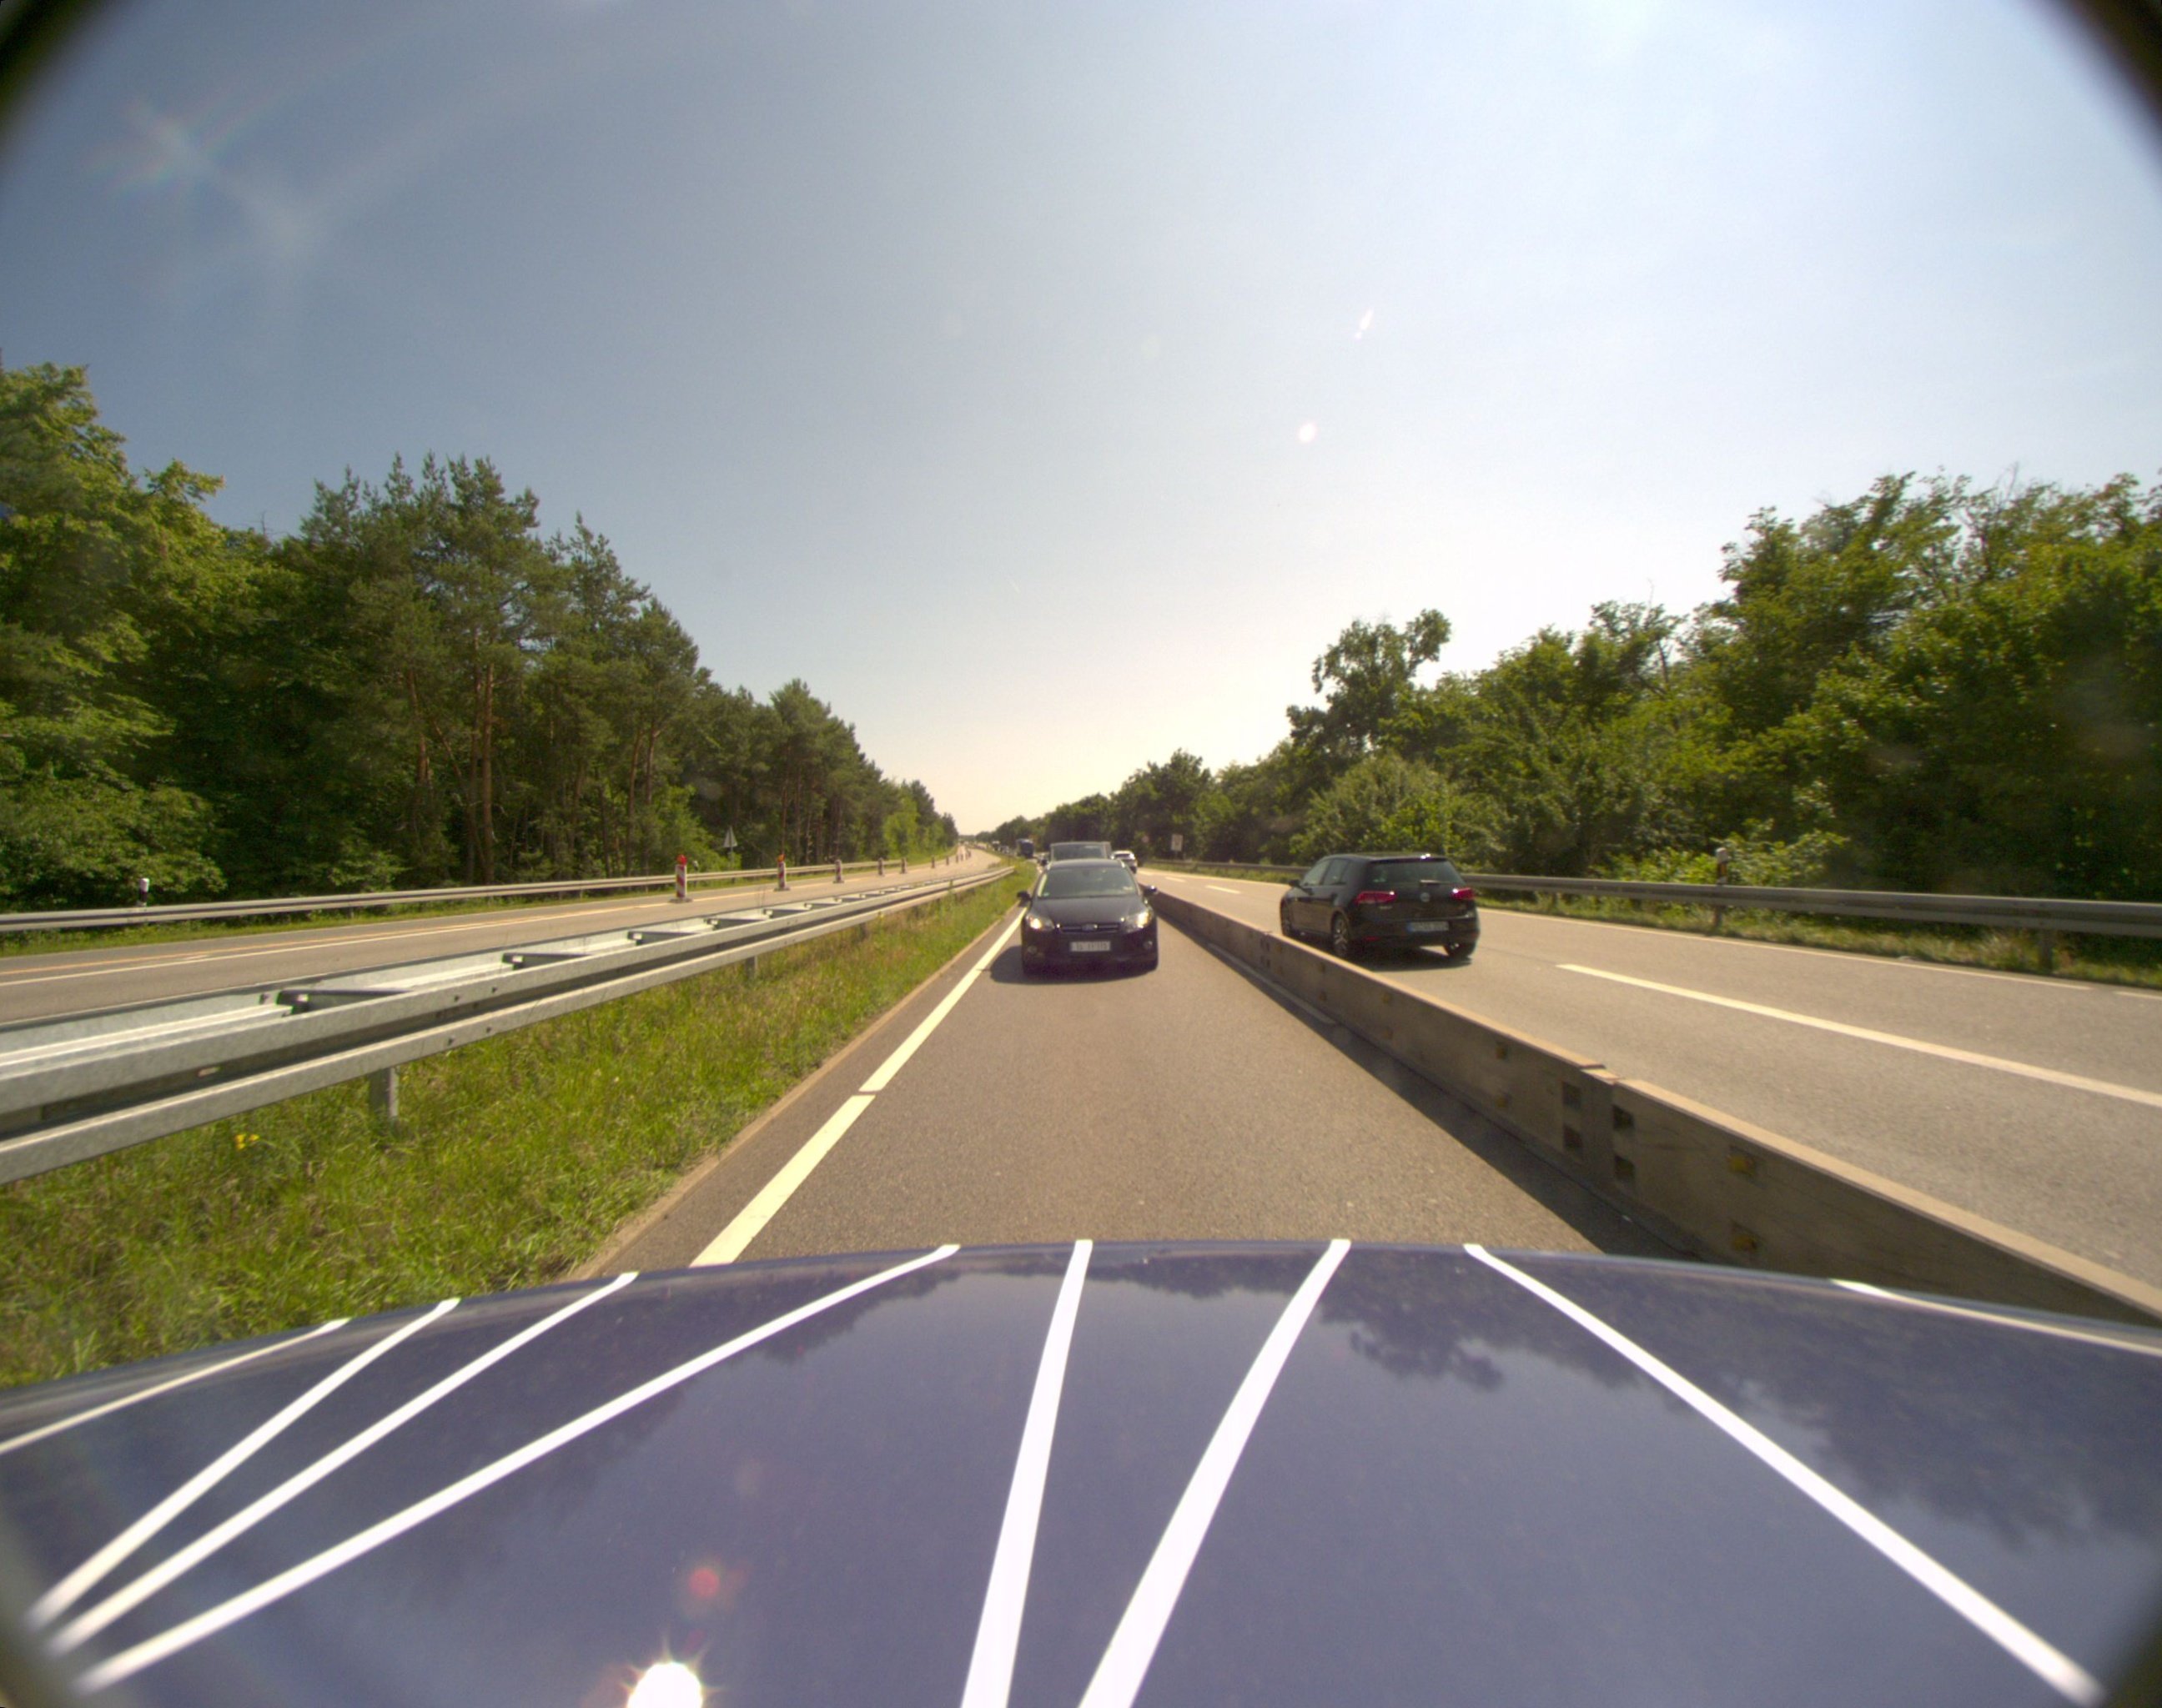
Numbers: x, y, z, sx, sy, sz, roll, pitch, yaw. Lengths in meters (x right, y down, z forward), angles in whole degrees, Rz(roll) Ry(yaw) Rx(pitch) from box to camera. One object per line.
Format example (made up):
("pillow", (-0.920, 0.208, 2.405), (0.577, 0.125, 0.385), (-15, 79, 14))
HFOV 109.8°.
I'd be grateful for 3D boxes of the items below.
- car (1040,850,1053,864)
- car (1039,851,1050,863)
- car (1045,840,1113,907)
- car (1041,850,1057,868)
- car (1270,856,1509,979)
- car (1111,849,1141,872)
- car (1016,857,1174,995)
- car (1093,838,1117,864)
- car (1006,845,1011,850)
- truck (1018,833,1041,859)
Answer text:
("car", (-4.321, 0.386, 94.640), (1.527, 1.647, 3.979), (-1, 0, -3))
("car", (-5.414, 0.432, 112.425), (1.527, 1.647, 3.753), (0, 0, -3))
("car", (-0.099, 0.551, 25.286), (1.960, 1.902, 4.933), (-2, 1, -1))
("car", (-3.173, 0.485, 75.482), (1.527, 1.647, 3.979), (-1, 0, -3))
("car", (4.265, 0.780, 11.301), (1.820, 1.415, 4.108), (-2, 0, -1))
("car", (3.192, 0.422, 54.866), (1.853, 1.592, 4.321), (-1, 1, -1))
("car", (0.045, 0.866, 11.559), (1.847, 1.537, 4.933), (-2, 0, -3))
("car", (2.378, -0.282, 76.879), (2.067, 2.471, 5.559), (-2, 0, -1))
("car", (-22.630, -2.028, 236.154), (1.528, 1.647, 3.978), (-1, 0, -6))
("truck", (-10.688, -1.607, 157.418), (3.832, 5.266, 11.237), (-1, 0, -9))
